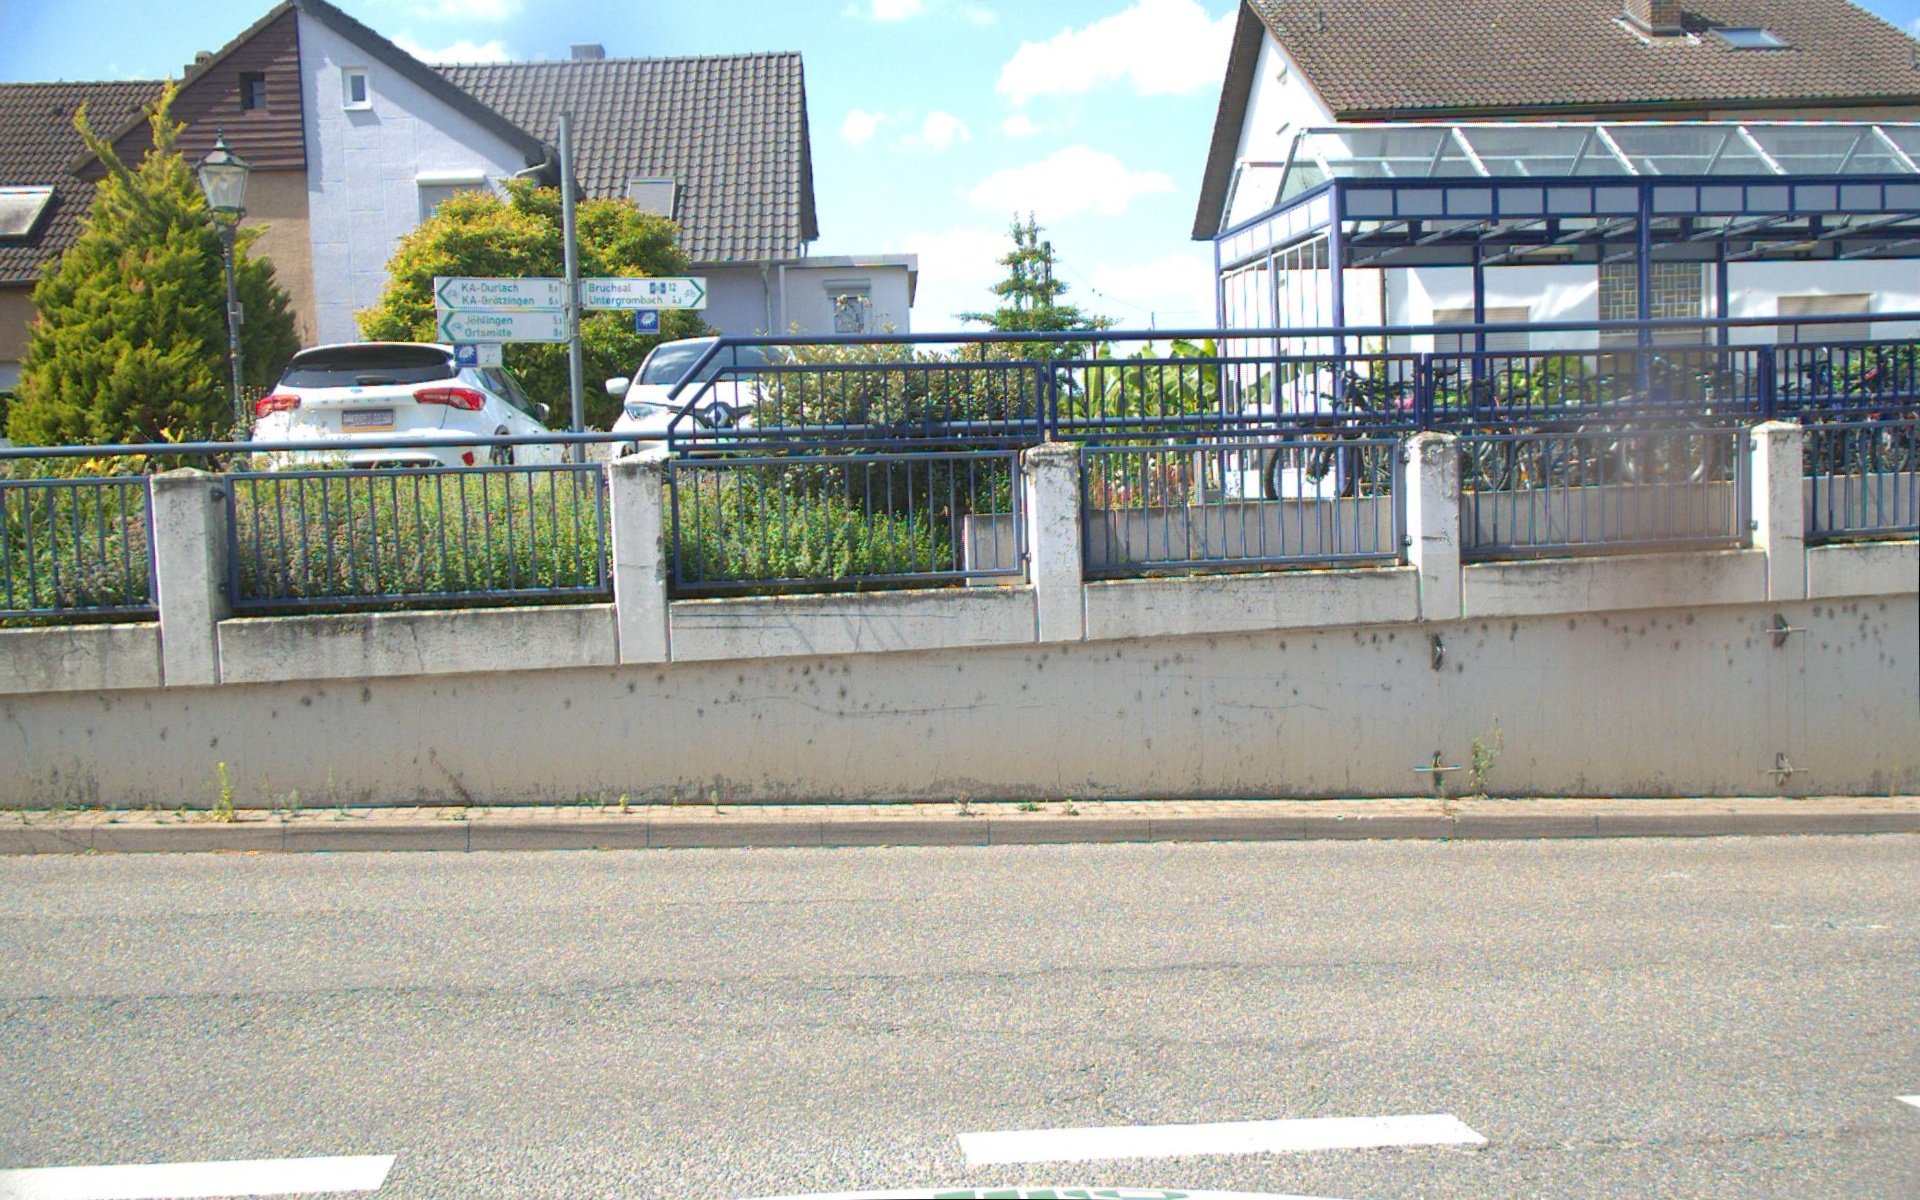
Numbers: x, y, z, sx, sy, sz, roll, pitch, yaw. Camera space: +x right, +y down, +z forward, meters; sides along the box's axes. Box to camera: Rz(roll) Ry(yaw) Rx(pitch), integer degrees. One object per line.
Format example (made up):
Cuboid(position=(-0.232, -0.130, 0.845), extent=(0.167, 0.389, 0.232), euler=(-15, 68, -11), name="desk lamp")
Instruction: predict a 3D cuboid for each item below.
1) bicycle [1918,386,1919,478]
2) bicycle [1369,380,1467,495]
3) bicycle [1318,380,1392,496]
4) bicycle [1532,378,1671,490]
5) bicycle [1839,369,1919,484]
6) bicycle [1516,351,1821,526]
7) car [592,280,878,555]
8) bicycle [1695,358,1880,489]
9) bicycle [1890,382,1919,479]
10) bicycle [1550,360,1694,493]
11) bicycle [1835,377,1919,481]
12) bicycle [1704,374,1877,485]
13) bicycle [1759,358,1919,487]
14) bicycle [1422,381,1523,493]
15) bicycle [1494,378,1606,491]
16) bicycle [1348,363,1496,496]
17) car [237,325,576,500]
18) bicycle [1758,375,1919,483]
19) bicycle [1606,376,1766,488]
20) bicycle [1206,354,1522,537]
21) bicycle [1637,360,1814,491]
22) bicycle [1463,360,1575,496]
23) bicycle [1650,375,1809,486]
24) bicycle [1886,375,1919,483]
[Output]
Cuboid(position=(10.980, -1.809, 17.325), extent=(0.509, 1.012, 1.962), euler=(-2, 3, -10), name="bicycle")
Cuboid(position=(4.363, -1.526, 15.859), extent=(0.365, 1.012, 1.966), euler=(-2, 3, -1), name="bicycle")
Cuboid(position=(3.711, -1.492, 15.614), extent=(0.445, 1.012, 1.890), euler=(-1, 3, 7), name="bicycle")
Cuboid(position=(6.375, -1.625, 16.534), extent=(0.418, 1.012, 1.963), euler=(-2, 3, -7), name="bicycle")
Cuboid(position=(8.835, -1.566, 14.823), extent=(0.522, 1.012, 2.185), euler=(-2, 3, -7), name="bicycle")
Cuboid(position=(4.903, -1.120, 11.435), extent=(2.077, 1.145, 0.391), euler=(-2, 3, -11), name="bicycle")
Cuboid(position=(-1.727, -1.332, 13.690), extent=(1.954, 1.828, 4.193), euler=(1, 1, -4), name="car")
Cuboid(position=(7.163, -1.494, 14.443), extent=(0.426, 1.012, 2.281), euler=(-2, 3, -1), name="bicycle")
Cuboid(position=(10.477, -1.773, 16.975), extent=(0.509, 1.012, 1.962), euler=(-2, 3, -10), name="bicycle")
Cuboid(position=(5.548, -1.419, 13.968), extent=(0.426, 1.012, 2.103), euler=(-1, 3, 2), name="bicycle")
Cuboid(position=(9.777, -1.741, 16.777), extent=(0.509, 1.012, 1.962), euler=(-2, 3, -10), name="bicycle")
Cuboid(position=(8.367, -1.697, 16.751), extent=(0.509, 1.012, 1.962), euler=(-2, 3, -10), name="bicycle")
Cuboid(position=(7.920, -1.519, 14.472), extent=(0.522, 1.012, 2.278), euler=(-2, 3, -7), name="bicycle")
Cuboid(position=(5.041, -1.576, 16.368), extent=(0.365, 1.012, 1.966), euler=(-2, 3, -1), name="bicycle")
Cuboid(position=(5.776, -1.593, 16.285), extent=(0.365, 1.012, 1.966), euler=(-2, 3, -1), name="bicycle")
Cuboid(position=(3.862, -1.402, 13.973), extent=(0.326, 1.012, 2.071), euler=(-2, 3, -10), name="bicycle")
Cuboid(position=(-4.315, -1.432, 13.448), extent=(1.789, 1.037, 3.456), euler=(1, 1, -4), name="car")
Cuboid(position=(8.999, -1.730, 16.987), extent=(0.509, 1.012, 1.798), euler=(-2, 3, -10), name="bicycle")
Cuboid(position=(7.215, -1.651, 16.538), extent=(0.465, 1.012, 1.962), euler=(-2, 3, -10), name="bicycle")
Cuboid(position=(2.685, -1.027, 10.968), extent=(2.077, 1.145, 0.332), euler=(-2, 3, -11), name="bicycle")
Cuboid(position=(6.595, -1.474, 14.377), extent=(0.426, 1.012, 2.281), euler=(-2, 3, -1), name="bicycle")
Cuboid(position=(4.577, -1.371, 13.642), extent=(0.426, 1.012, 2.104), euler=(-1, 3, 6), name="bicycle")
Cuboid(position=(7.679, -1.668, 16.604), extent=(0.406, 1.012, 1.962), euler=(-2, 3, -10), name="bicycle")
Cuboid(position=(9.470, -1.605, 15.160), extent=(0.522, 1.012, 2.185), euler=(-2, 3, -7), name="bicycle")
